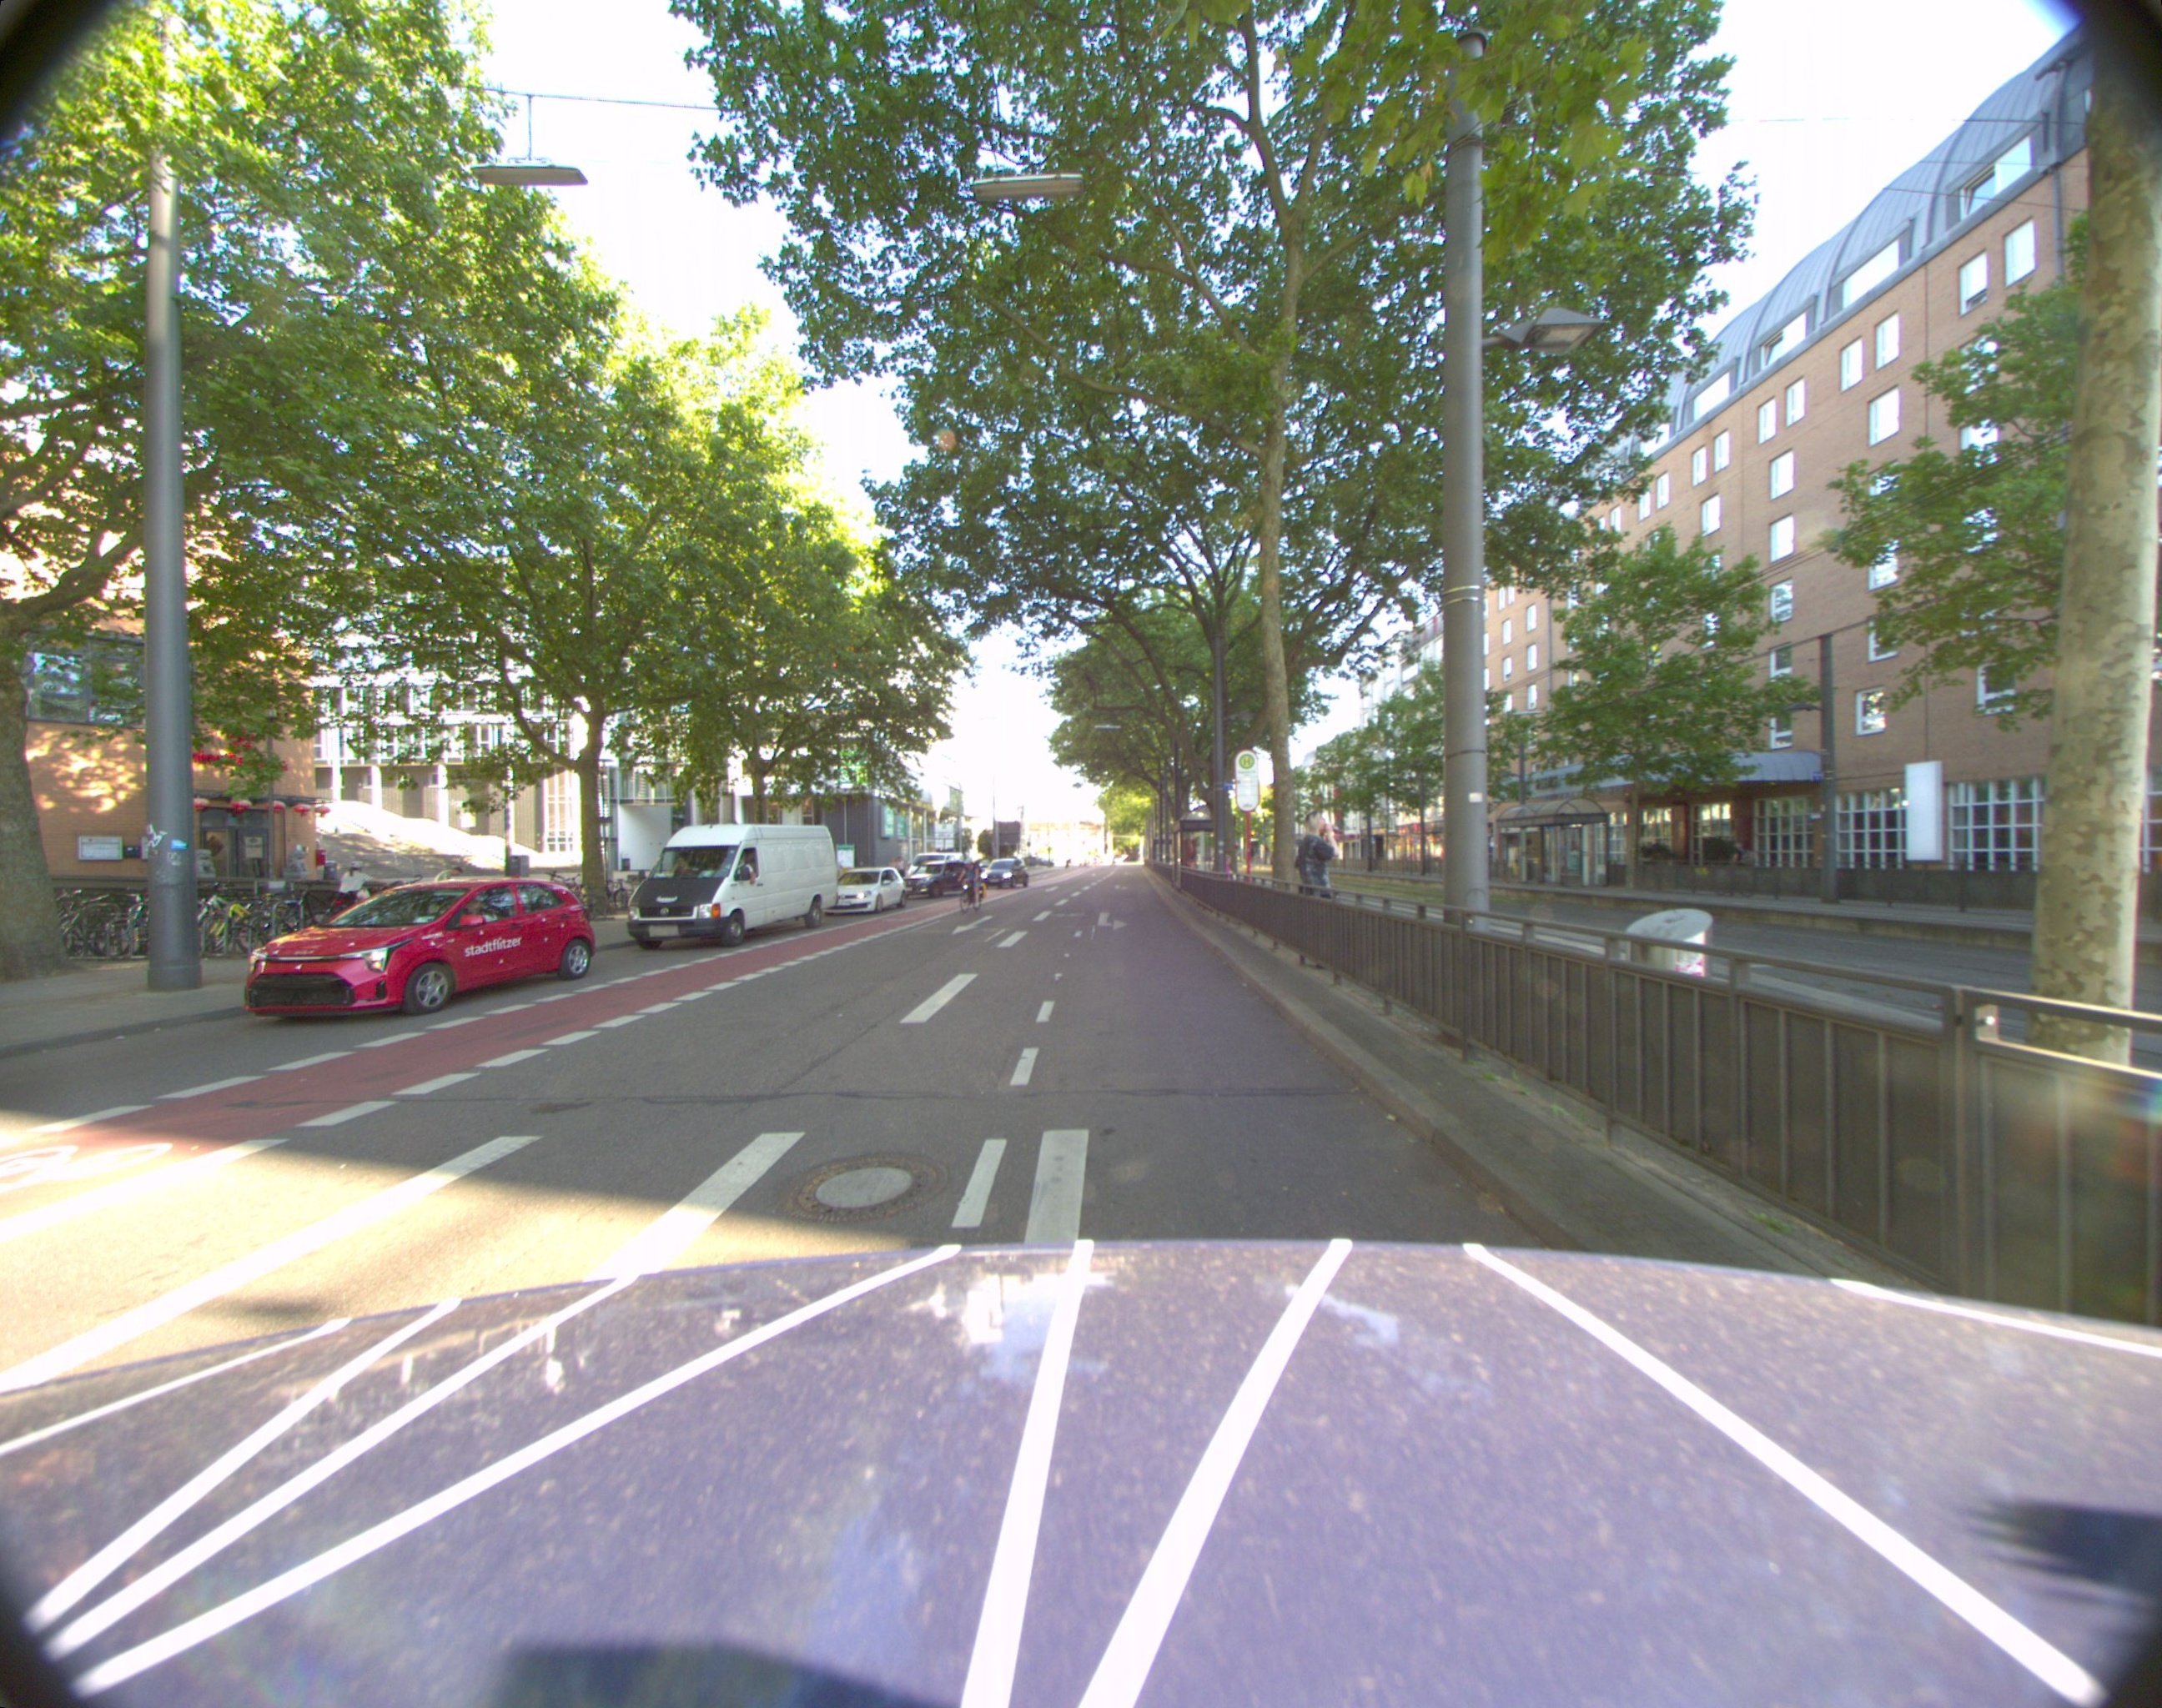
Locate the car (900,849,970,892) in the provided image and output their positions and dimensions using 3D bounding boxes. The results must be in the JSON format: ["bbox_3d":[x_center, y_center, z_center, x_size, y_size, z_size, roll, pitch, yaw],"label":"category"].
[{"bbox_3d":[-7.652,0.813,40.330,2.127,2.121,5.292,0,0,6],"label":"car"}]

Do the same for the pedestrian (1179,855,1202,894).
[{"bbox_3d":[4.001,0.747,27.835,0.735,1.379,0.640,-2,1,6],"label":"pedestrian"}]

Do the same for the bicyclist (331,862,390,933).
[{"bbox_3d":[-16.931,1.002,17.865,0.563,1.607,0.821,0,1,1],"label":"bicyclist"}]

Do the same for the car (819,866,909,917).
[{"bbox_3d":[-7.026,1.182,24.986,1.671,1.455,3.869,0,0,3],"label":"car"}]

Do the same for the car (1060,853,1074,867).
[{"bbox_3d":[-2.061,0.899,111.933,1.999,1.856,3.999,-2,1,-1],"label":"car"}]

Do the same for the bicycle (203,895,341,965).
[{"bbox_3d":[-13.929,1.280,13.155,0.597,1.026,1.655,0,0,1],"label":"bicycle"}]

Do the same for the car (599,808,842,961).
[{"bbox_3d":[-7.568,0.545,17.049,1.998,2.708,6.562,-2,0,2],"label":"car"}]

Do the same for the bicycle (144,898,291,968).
[{"bbox_3d":[-14.768,1.315,13.062,0.597,1.026,1.655,0,0,1],"label":"bicycle"}]

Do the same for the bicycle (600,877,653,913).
[{"bbox_3d":[-14.661,1.307,24.537,0.597,1.041,1.655,0,0,4],"label":"bicycle"}]

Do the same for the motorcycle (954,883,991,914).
[{"bbox_3d":[-3.316,1.348,23.418,0.667,0.843,2.223,0,0,4],"label":"motorcycle"}]

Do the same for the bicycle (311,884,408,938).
[{"bbox_3d":[-16.929,1.317,17.889,0.567,1.119,1.778,0,0,1],"label":"bicycle"}]

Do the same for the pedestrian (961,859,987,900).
[{"bbox_3d":[-3.302,0.773,23.490,0.665,1.218,0.775,0,1,4],"label":"pedestrian"}]

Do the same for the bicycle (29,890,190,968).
[{"bbox_3d":[-16.530,1.240,13.001,0.479,1.153,1.694,0,0,5],"label":"bicycle"}]

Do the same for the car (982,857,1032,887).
[{"bbox_3d":[-4.097,0.966,42.592,1.759,1.565,4.003,0,0,10],"label":"car"}]

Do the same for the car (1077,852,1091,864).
[{"bbox_3d":[0.506,0.601,112.217,1.998,1.681,3.999,-2,1,1],"label":"car"}]

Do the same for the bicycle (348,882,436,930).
[{"bbox_3d":[-17.748,1.306,19.613,0.596,1.119,1.656,0,0,9],"label":"bicycle"}]

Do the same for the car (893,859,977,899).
[{"bbox_3d":[-6.409,1.055,33.880,1.783,1.628,4.028,0,0,22],"label":"car"}]

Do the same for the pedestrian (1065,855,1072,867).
[{"bbox_3d":[-1.666,0.895,101.884,0.753,1.565,0.912,-1,1,6],"label":"pedestrian"}]

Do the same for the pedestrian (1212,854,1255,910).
[{"bbox_3d":[3.936,0.720,19.660,0.979,1.392,0.664,-2,1,6],"label":"pedestrian"}]

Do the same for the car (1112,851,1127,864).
[{"bbox_3d":[5.679,0.456,112.151,1.958,1.760,3.999,-2,1,1],"label":"car"}]

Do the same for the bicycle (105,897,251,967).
[{"bbox_3d":[-15.394,1.298,13.018,0.503,1.026,1.655,0,0,1],"label":"bicycle"}]

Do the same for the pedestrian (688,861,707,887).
[{"bbox_3d":[-21.492,1.113,42.587,0.712,1.447,0.601,0,1,4],"label":"pedestrian"}]

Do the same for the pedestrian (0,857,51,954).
[{"bbox_3d":[-19.942,0.931,13.900,0.788,1.747,1.020,0,1,6],"label":"pedestrian"}]

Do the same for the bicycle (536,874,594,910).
[{"bbox_3d":[-16.122,1.174,23.787,0.597,1.041,1.655,0,0,4],"label":"bicycle"}]

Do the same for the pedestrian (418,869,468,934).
[{"bbox_3d":[-16.278,1.196,19.391,0.718,1.622,0.636,0,1,7],"label":"pedestrian"}]

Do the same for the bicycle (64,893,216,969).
[{"bbox_3d":[-15.985,1.270,12.980,0.503,1.130,1.655,0,0,1],"label":"bicycle"}]

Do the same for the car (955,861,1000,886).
[{"bbox_3d":[-6.416,1.175,47.472,1.784,1.411,4.024,0,0,8],"label":"car"}]

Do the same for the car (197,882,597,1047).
[{"bbox_3d":[-7.947,1.168,9.356,1.562,1.455,3.621,-2,0,1],"label":"car"}]

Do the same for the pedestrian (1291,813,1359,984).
[{"bbox_3d":[2.819,0.491,8.838,0.511,1.889,0.760,-2,1,2],"label":"pedestrian"}]

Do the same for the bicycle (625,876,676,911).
[{"bbox_3d":[-13.880,1.268,24.532,0.597,1.041,1.655,0,0,4],"label":"bicycle"}]

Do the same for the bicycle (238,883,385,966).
[{"bbox_3d":[-13.231,1.176,13.149,0.597,1.257,1.876,0,0,1],"label":"bicycle"}]

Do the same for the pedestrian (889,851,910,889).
[{"bbox_3d":[-9.609,0.844,40.271,0.808,2.002,0.665,-2,1,7],"label":"pedestrian"}]
